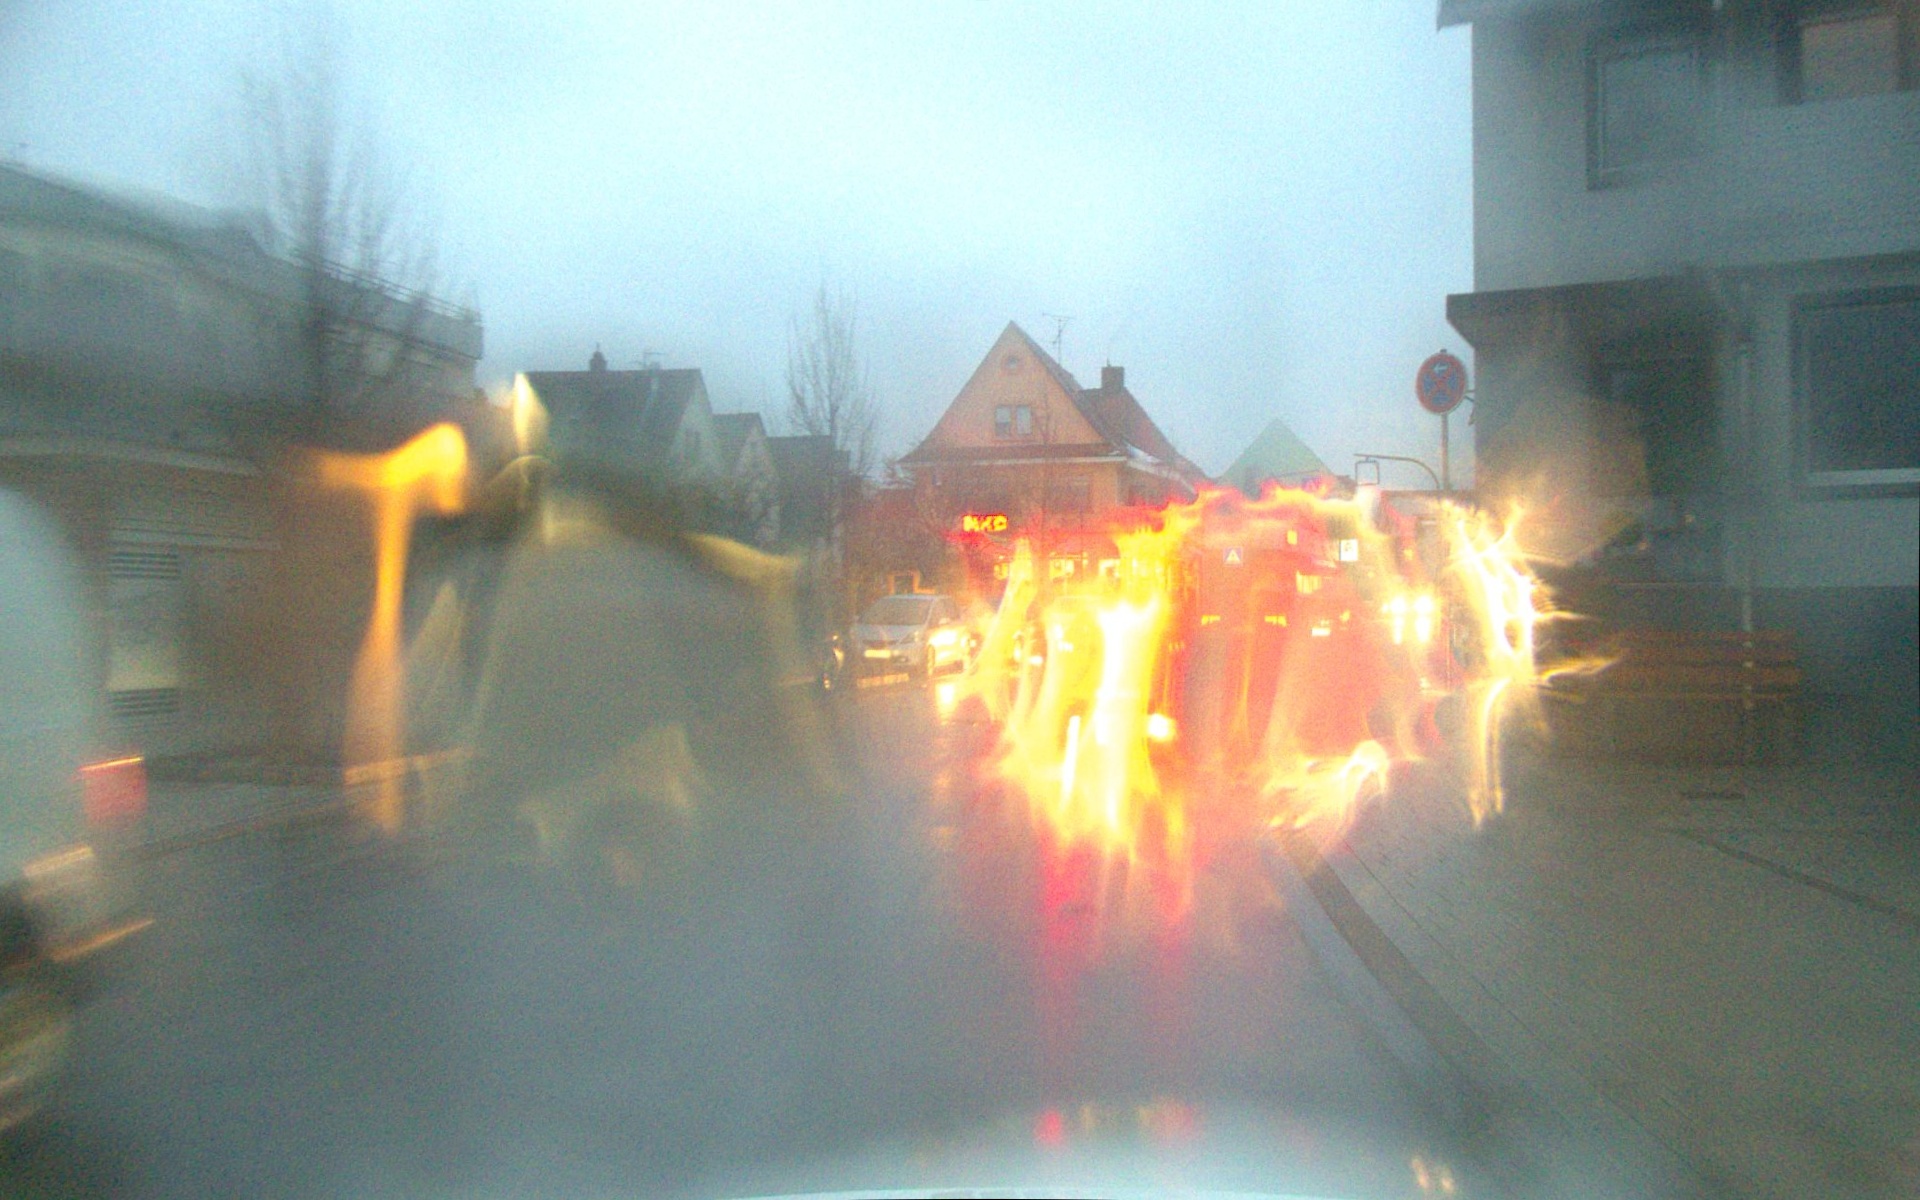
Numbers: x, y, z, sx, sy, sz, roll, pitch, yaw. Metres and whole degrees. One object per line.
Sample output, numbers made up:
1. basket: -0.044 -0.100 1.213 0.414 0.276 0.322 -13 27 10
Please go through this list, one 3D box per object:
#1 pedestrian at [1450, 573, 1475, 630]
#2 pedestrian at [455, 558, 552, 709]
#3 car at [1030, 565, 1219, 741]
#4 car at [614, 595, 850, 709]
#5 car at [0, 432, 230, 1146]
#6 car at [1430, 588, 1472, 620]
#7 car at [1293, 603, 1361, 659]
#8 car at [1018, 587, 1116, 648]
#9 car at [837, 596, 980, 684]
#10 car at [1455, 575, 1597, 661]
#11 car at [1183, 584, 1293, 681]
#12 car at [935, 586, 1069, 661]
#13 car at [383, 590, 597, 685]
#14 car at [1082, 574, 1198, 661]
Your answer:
1. pedestrian: 16.898 0.054 55.610 0.650 1.921 0.823 1 -1 26
2. pedestrian: -5.918 0.426 21.467 0.738 1.899 1.061 0 0 19
3. car: 2.054 0.535 19.601 1.951 1.827 4.652 -1 1 8
4. car: -3.224 0.689 24.362 1.710 1.498 4.461 1 0 17
5. car: -3.410 0.505 2.896 1.905 1.781 4.852 -2 0 2
6. car: 22.809 0.173 76.762 1.503 1.267 3.648 -5 -1 21
7. car: 10.051 0.820 45.142 1.614 1.467 3.869 -1 0 15
8. car: 2.970 0.441 45.081 1.635 1.543 4.001 2 1 19
9. car: -0.918 0.718 31.872 1.656 1.543 3.775 1 0 16
10. car: 10.972 0.304 31.894 1.847 1.492 4.536 -2 0 28
11. car: 5.324 0.575 31.311 1.759 1.691 4.003 1 0 13
12. car: 1.025 0.501 37.309 1.712 1.543 4.343 2 0 20
13. car: -8.227 0.651 28.799 4.016 1.503 1.729 -2 0 42
14. car: 4.282 0.361 38.699 2.095 1.893 4.746 0 0 14
